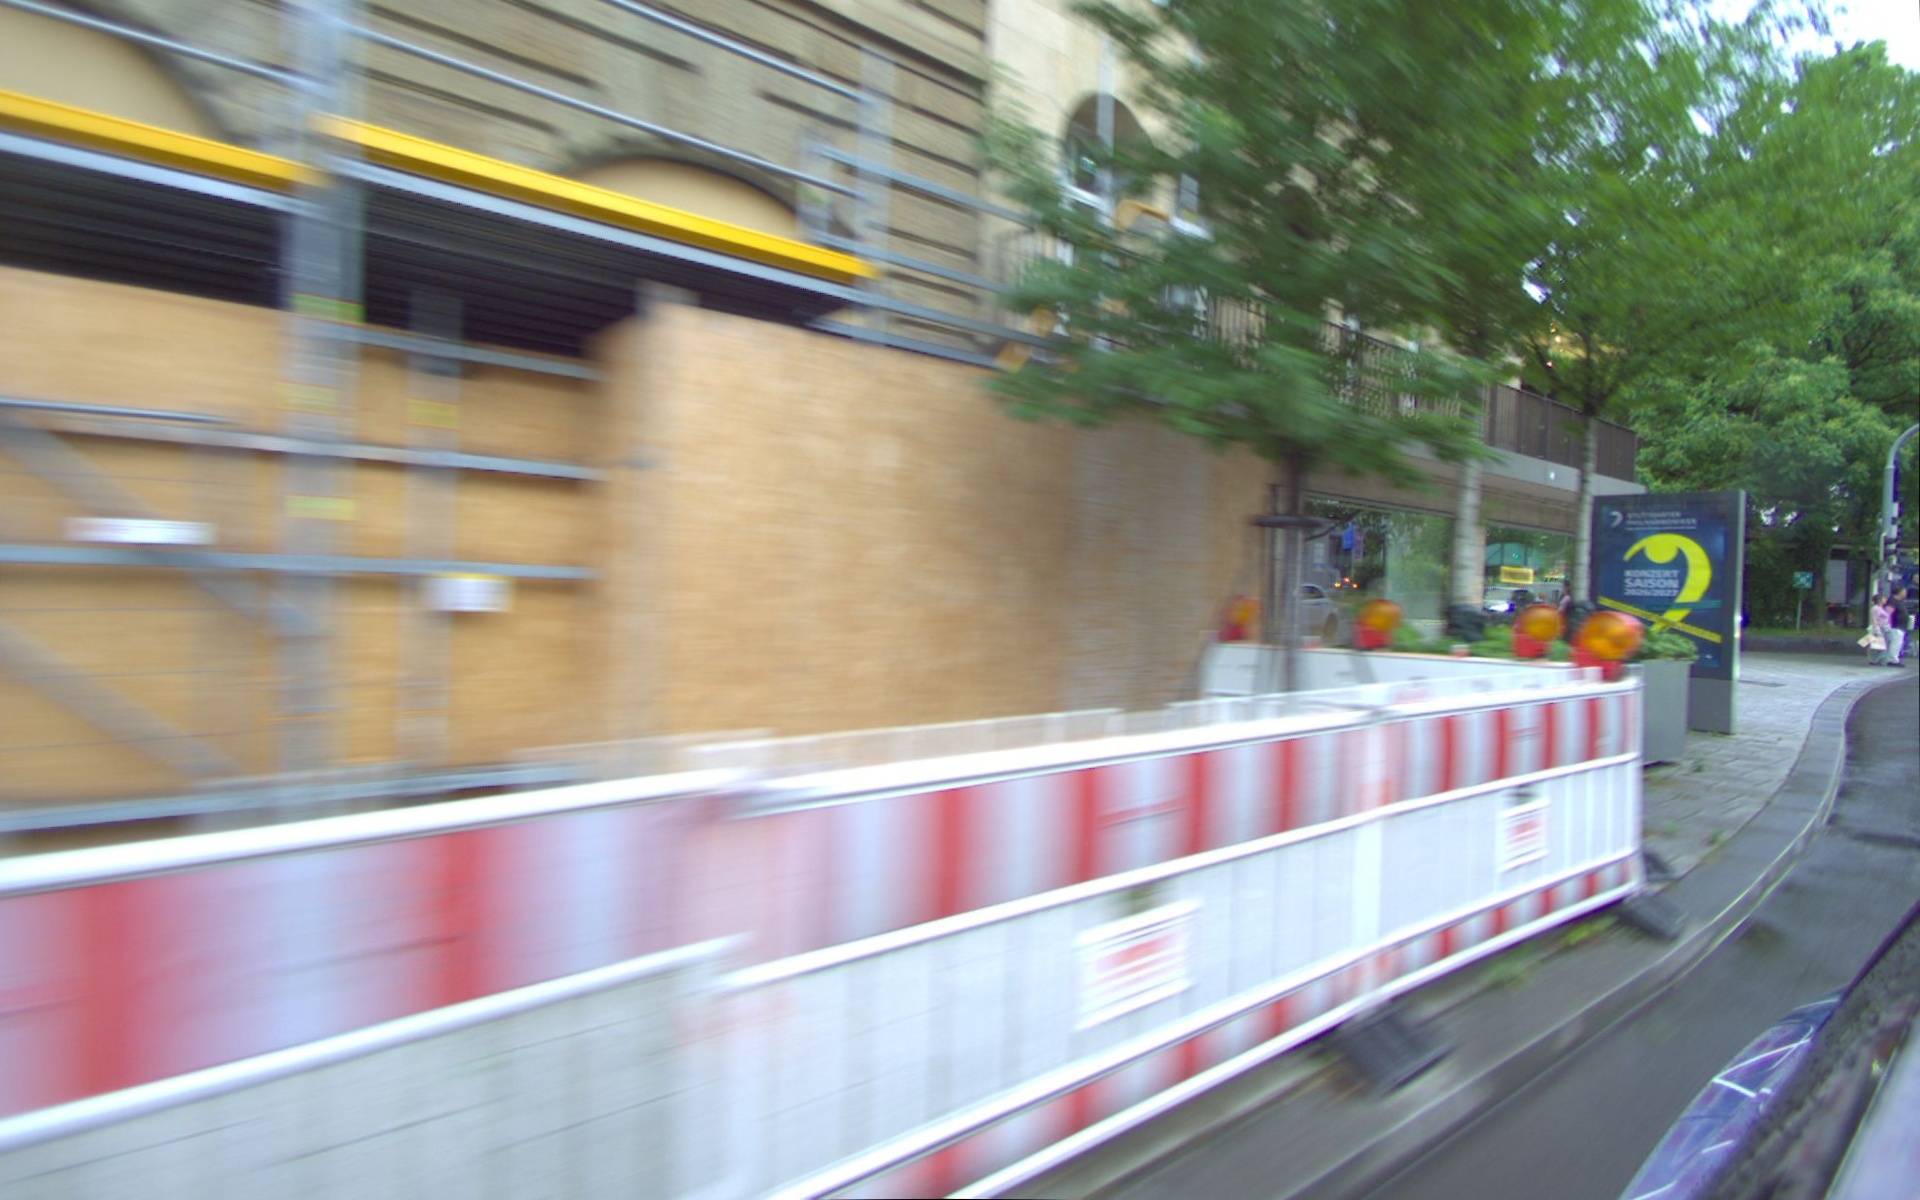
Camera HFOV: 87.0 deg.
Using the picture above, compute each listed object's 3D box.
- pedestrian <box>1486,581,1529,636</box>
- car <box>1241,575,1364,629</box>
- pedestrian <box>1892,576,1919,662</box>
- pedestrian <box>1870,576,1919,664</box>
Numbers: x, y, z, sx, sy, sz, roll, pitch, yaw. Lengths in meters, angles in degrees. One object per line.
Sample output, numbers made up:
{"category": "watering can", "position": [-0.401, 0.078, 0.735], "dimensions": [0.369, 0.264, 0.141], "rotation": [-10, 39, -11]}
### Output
{"category": "pedestrian", "position": [10.863, 0.174, 20.079], "dimensions": [0.535, 1.069, 0.556], "rotation": [1, 0, -36]}
{"category": "car", "position": [10.279, 0.035, 30.256], "dimensions": [3.929, 1.517, 1.669], "rotation": [0, 1, -40]}
{"category": "pedestrian", "position": [20.974, 0.410, 22.188], "dimensions": [0.552, 1.857, 0.635], "rotation": [0, 1, -34]}
{"category": "pedestrian", "position": [20.236, 0.410, 21.913], "dimensions": [0.585, 1.857, 0.624], "rotation": [1, 1, 25]}
